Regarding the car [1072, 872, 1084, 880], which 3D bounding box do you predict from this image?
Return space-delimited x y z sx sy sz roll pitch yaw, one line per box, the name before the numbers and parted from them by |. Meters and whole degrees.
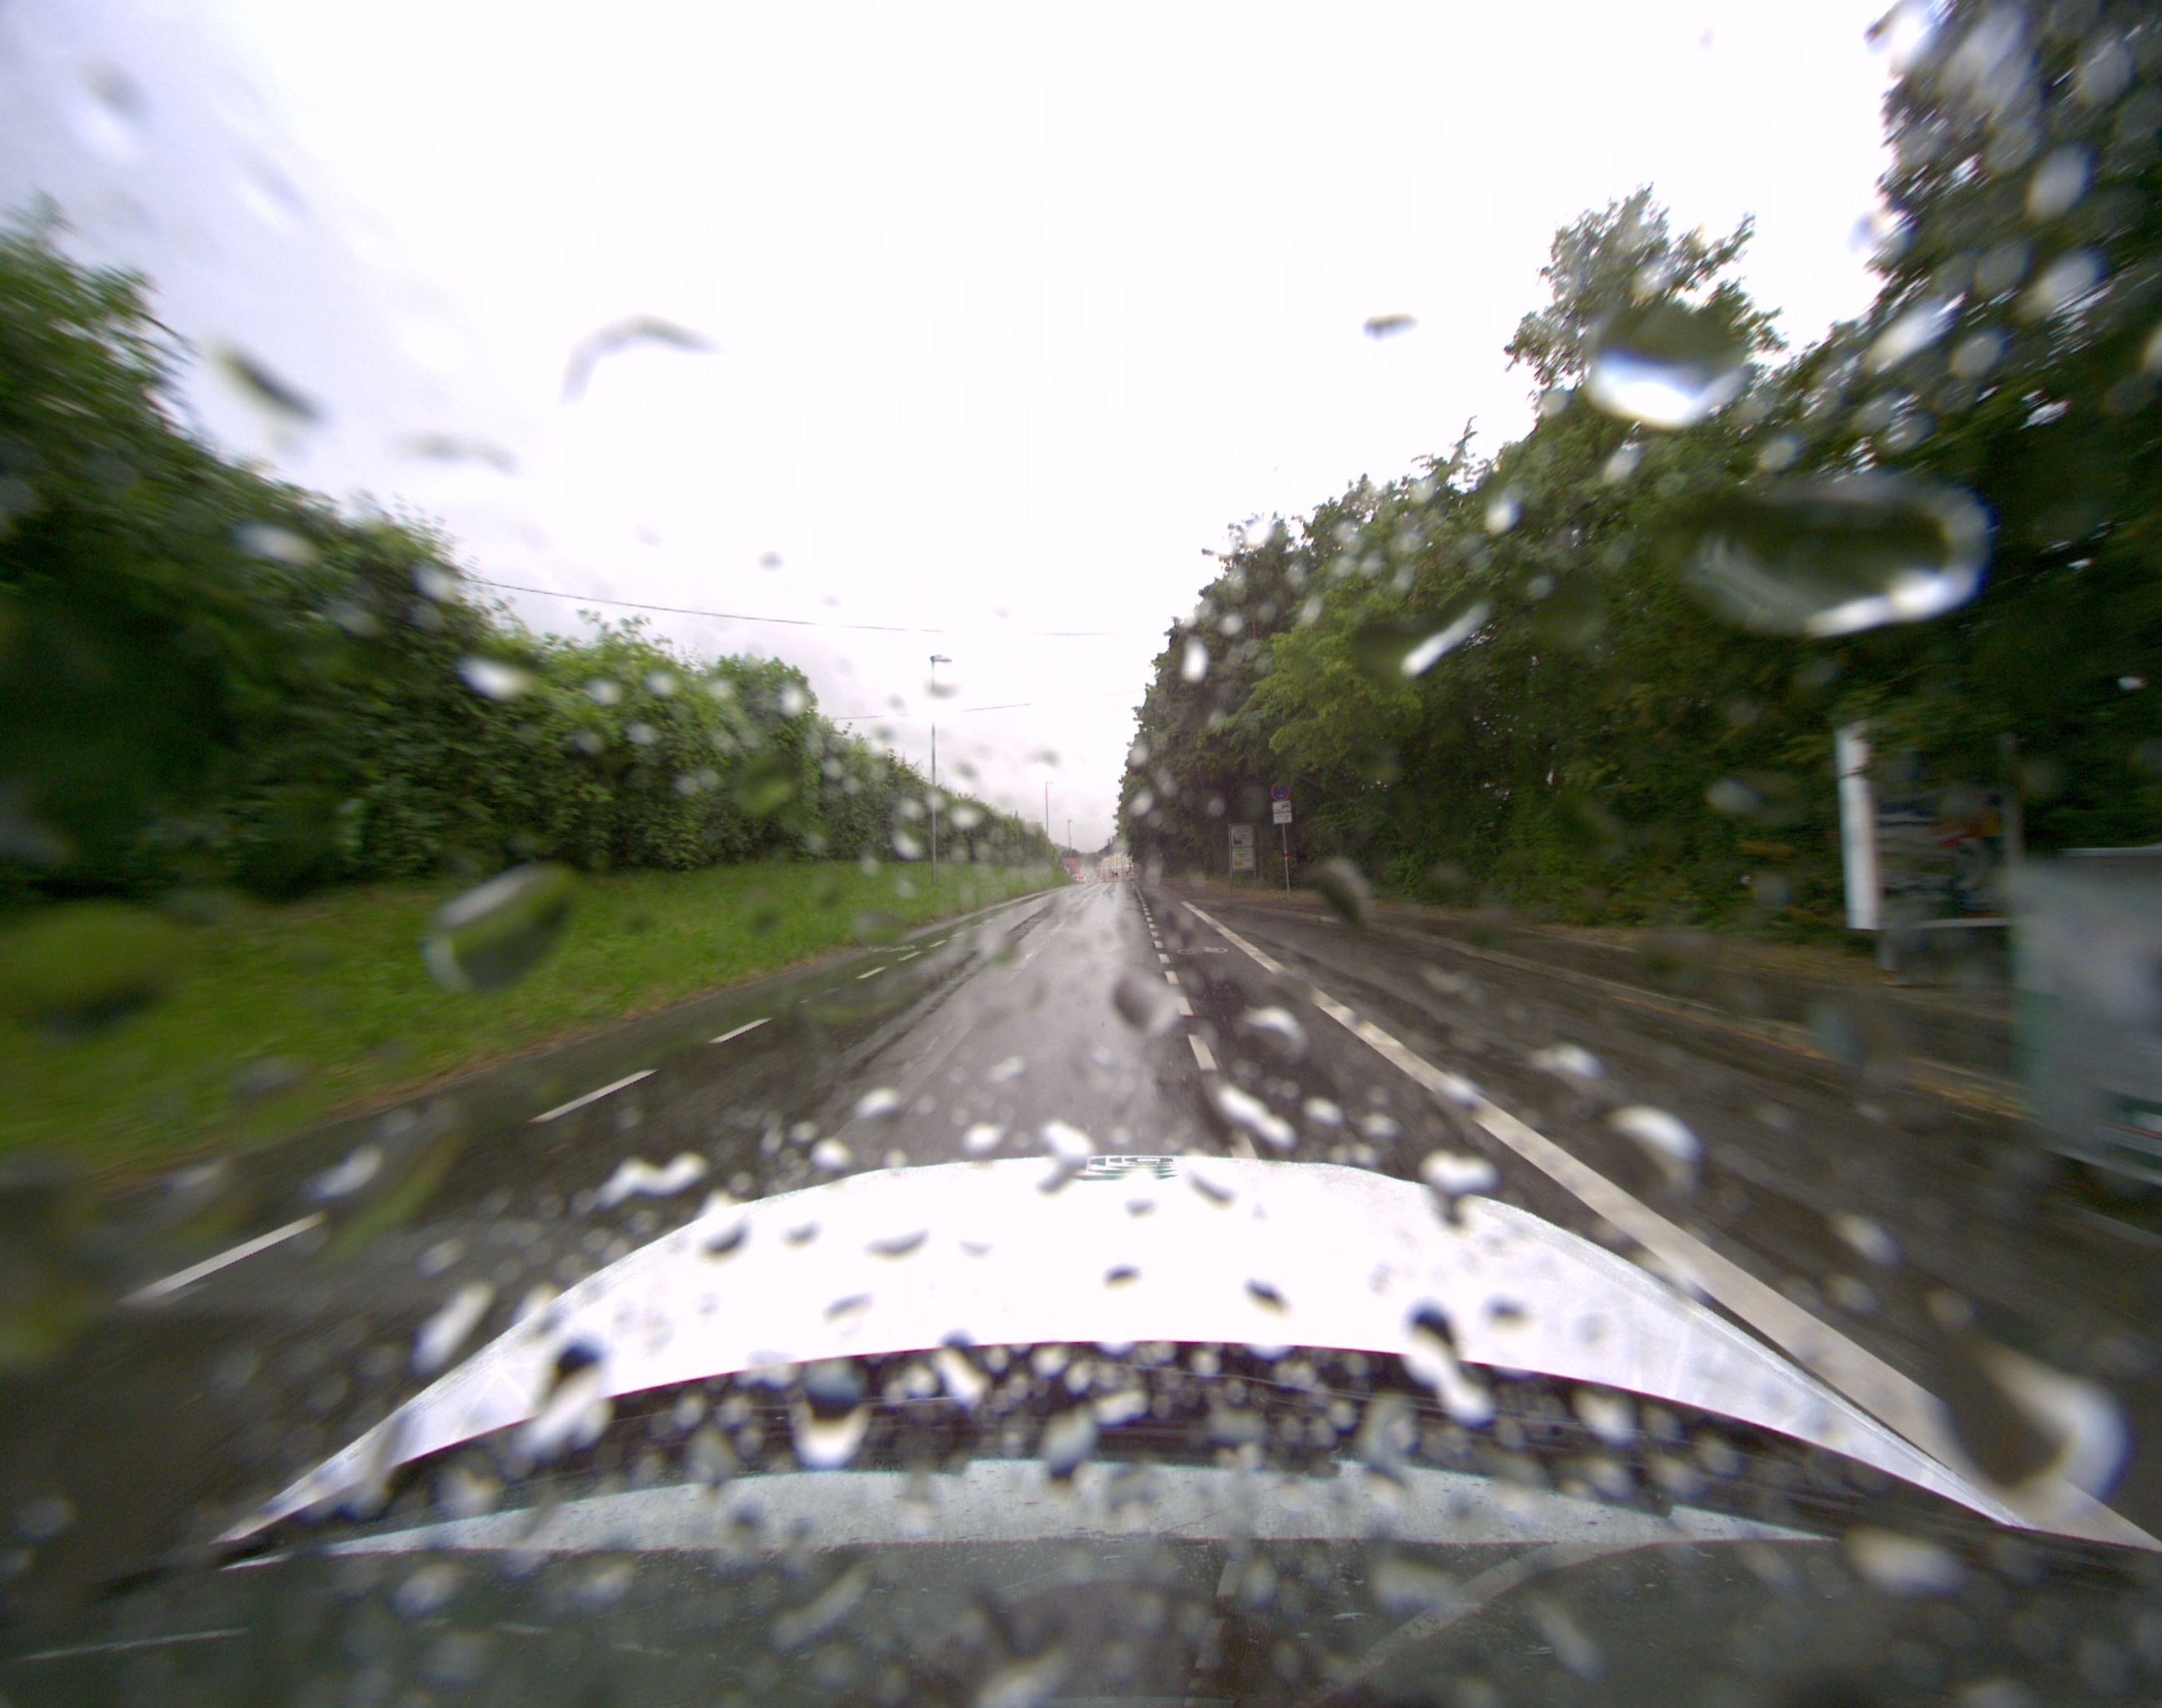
car | -0.629 4.548 167.898 1.991 1.611 3.991 0 0 -6
